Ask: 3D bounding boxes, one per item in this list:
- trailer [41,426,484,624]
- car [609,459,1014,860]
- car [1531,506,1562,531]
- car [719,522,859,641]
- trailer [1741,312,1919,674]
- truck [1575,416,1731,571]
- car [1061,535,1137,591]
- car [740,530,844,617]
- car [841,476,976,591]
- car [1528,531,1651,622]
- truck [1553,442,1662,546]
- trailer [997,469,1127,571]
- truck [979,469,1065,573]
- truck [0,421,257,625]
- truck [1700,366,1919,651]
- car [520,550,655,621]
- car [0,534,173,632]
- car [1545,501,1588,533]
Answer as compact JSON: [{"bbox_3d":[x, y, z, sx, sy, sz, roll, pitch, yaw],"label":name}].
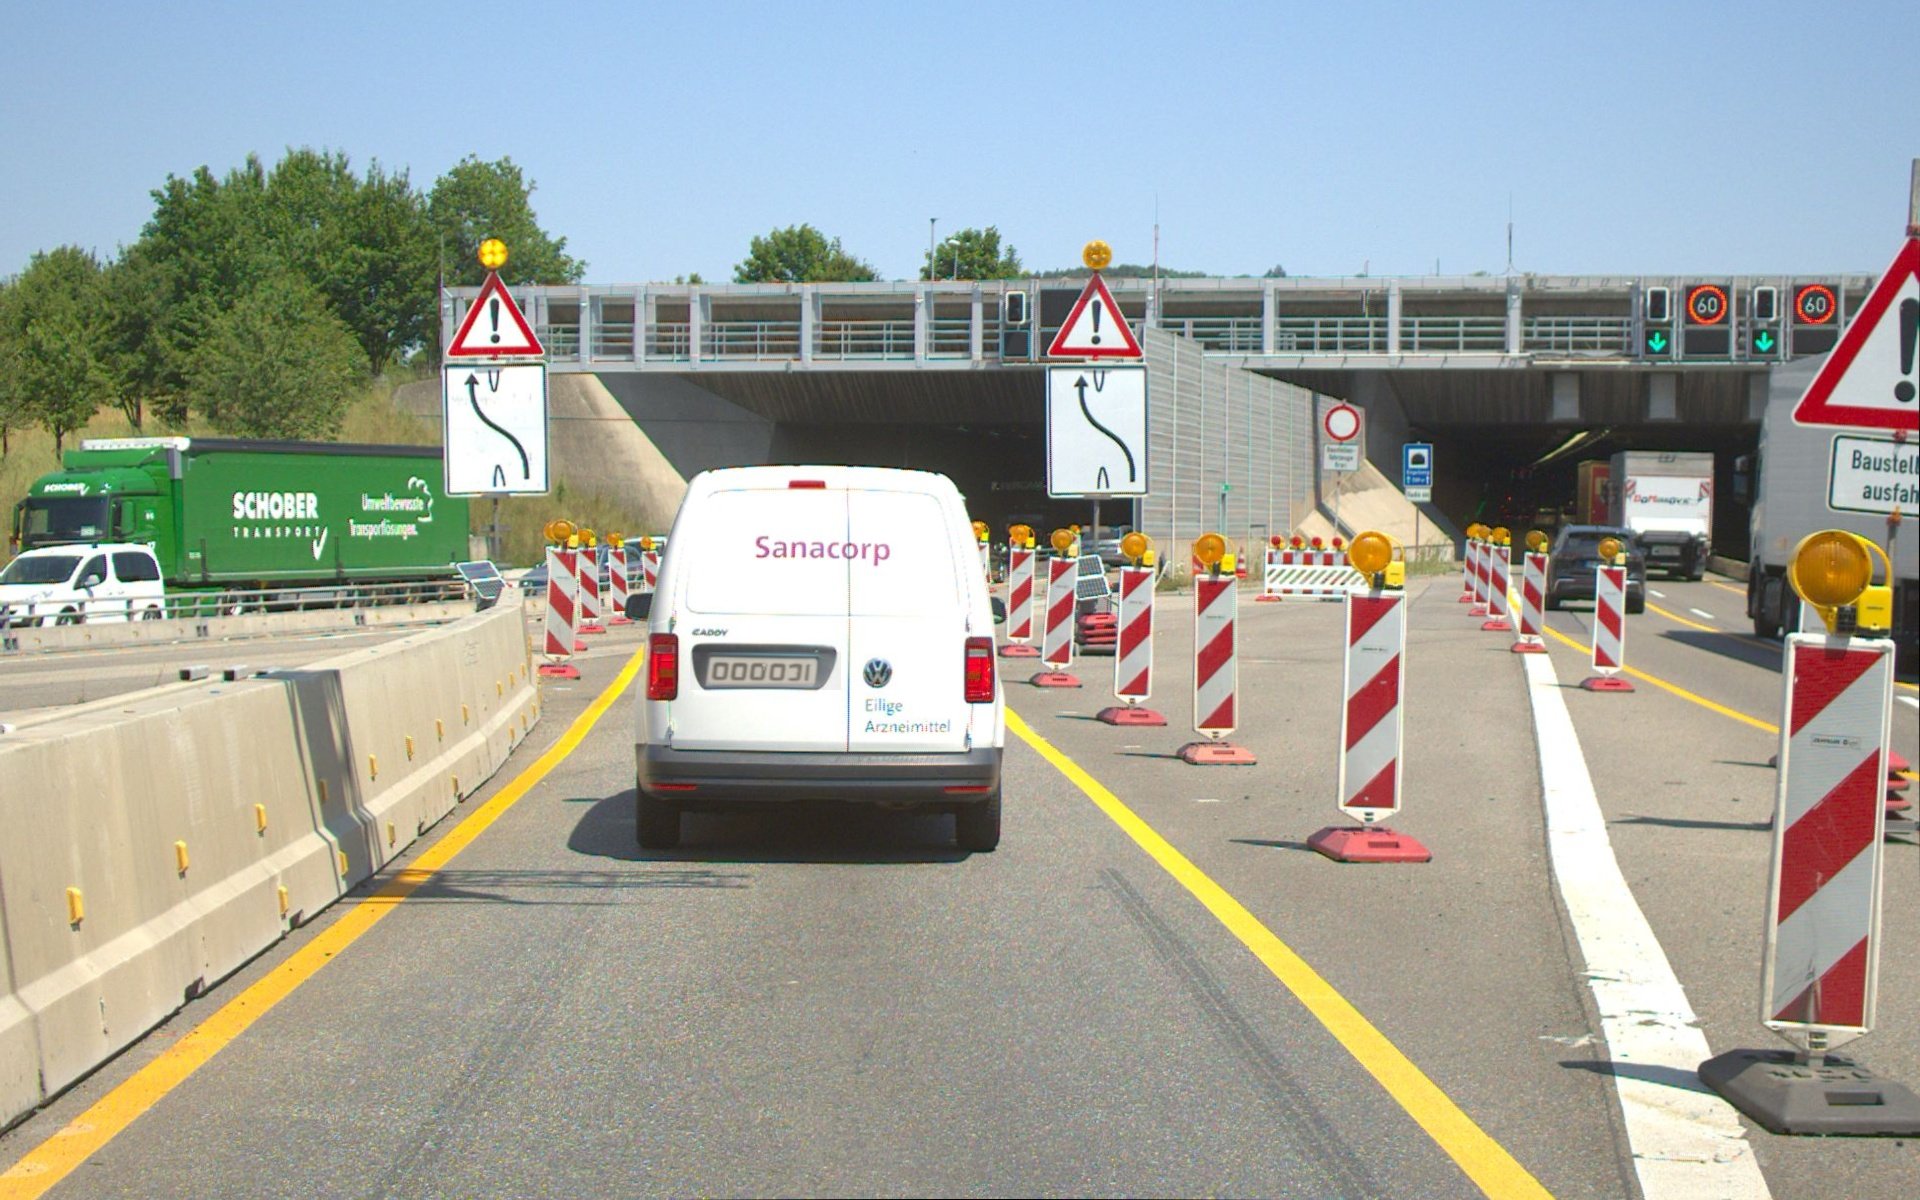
[{"bbox_3d":[-16.179,-1.720,81.634,3.549,4.255,13.894,1,1,20],"label":"trailer"},{"bbox_3d":[-0.732,0.233,17.302,1.808,1.788,3.731,0,1,-2],"label":"car"},{"bbox_3d":[40.013,-5.575,234.653,1.815,1.624,4.189,2,1,7],"label":"car"},{"bbox_3d":[-2.367,-0.274,46.730,1.808,1.532,4.410,0,1,-4],"label":"car"},{"bbox_3d":[12.502,-1.247,43.949,2.733,4.048,14.093,2,1,4],"label":"trailer"},{"bbox_3d":[21.752,-3.199,108.848,3.403,4.320,16.531,2,0,7],"label":"truck"},{"bbox_3d":[4.604,-1.226,113.238,1.954,1.809,4.408,0,1,10],"label":"car"},{"bbox_3d":[-3.588,-0.600,74.039,1.808,1.809,4.409,0,1,3],"label":"car"},{"bbox_3d":[-1.259,-1.671,88.464,2.814,2.764,7.100,2,0,4],"label":"car"},{"bbox_3d":[12.035,-0.467,65.937,1.815,1.624,4.190,2,1,4],"label":"car"},{"bbox_3d":[27.642,-4.416,147.497,3.402,4.057,16.532,2,1,7],"label":"truck"},{"bbox_3d":[4.577,-3.469,150.415,2.437,4.282,13.799,0,1,16],"label":"trailer"},{"bbox_3d":[2.629,-3.291,143.470,2.433,4.255,4.835,0,1,16],"label":"truck"},{"bbox_3d":[-18.481,-1.673,75.217,3.549,4.255,5.773,1,1,20],"label":"truck"},{"bbox_3d":[13.147,-1.351,52.344,2.745,4.019,5.926,2,1,4],"label":"truck"},{"bbox_3d":[-8.763,-0.367,81.178,1.717,1.618,4.167,1,1,16],"label":"car"},{"bbox_3d":[-15.489,-0.317,59.694,1.717,1.618,4.167,1,1,16],"label":"car"},{"bbox_3d":[37.785,-5.165,214.257,2.332,1.832,4.543,2,1,7],"label":"car"}]
